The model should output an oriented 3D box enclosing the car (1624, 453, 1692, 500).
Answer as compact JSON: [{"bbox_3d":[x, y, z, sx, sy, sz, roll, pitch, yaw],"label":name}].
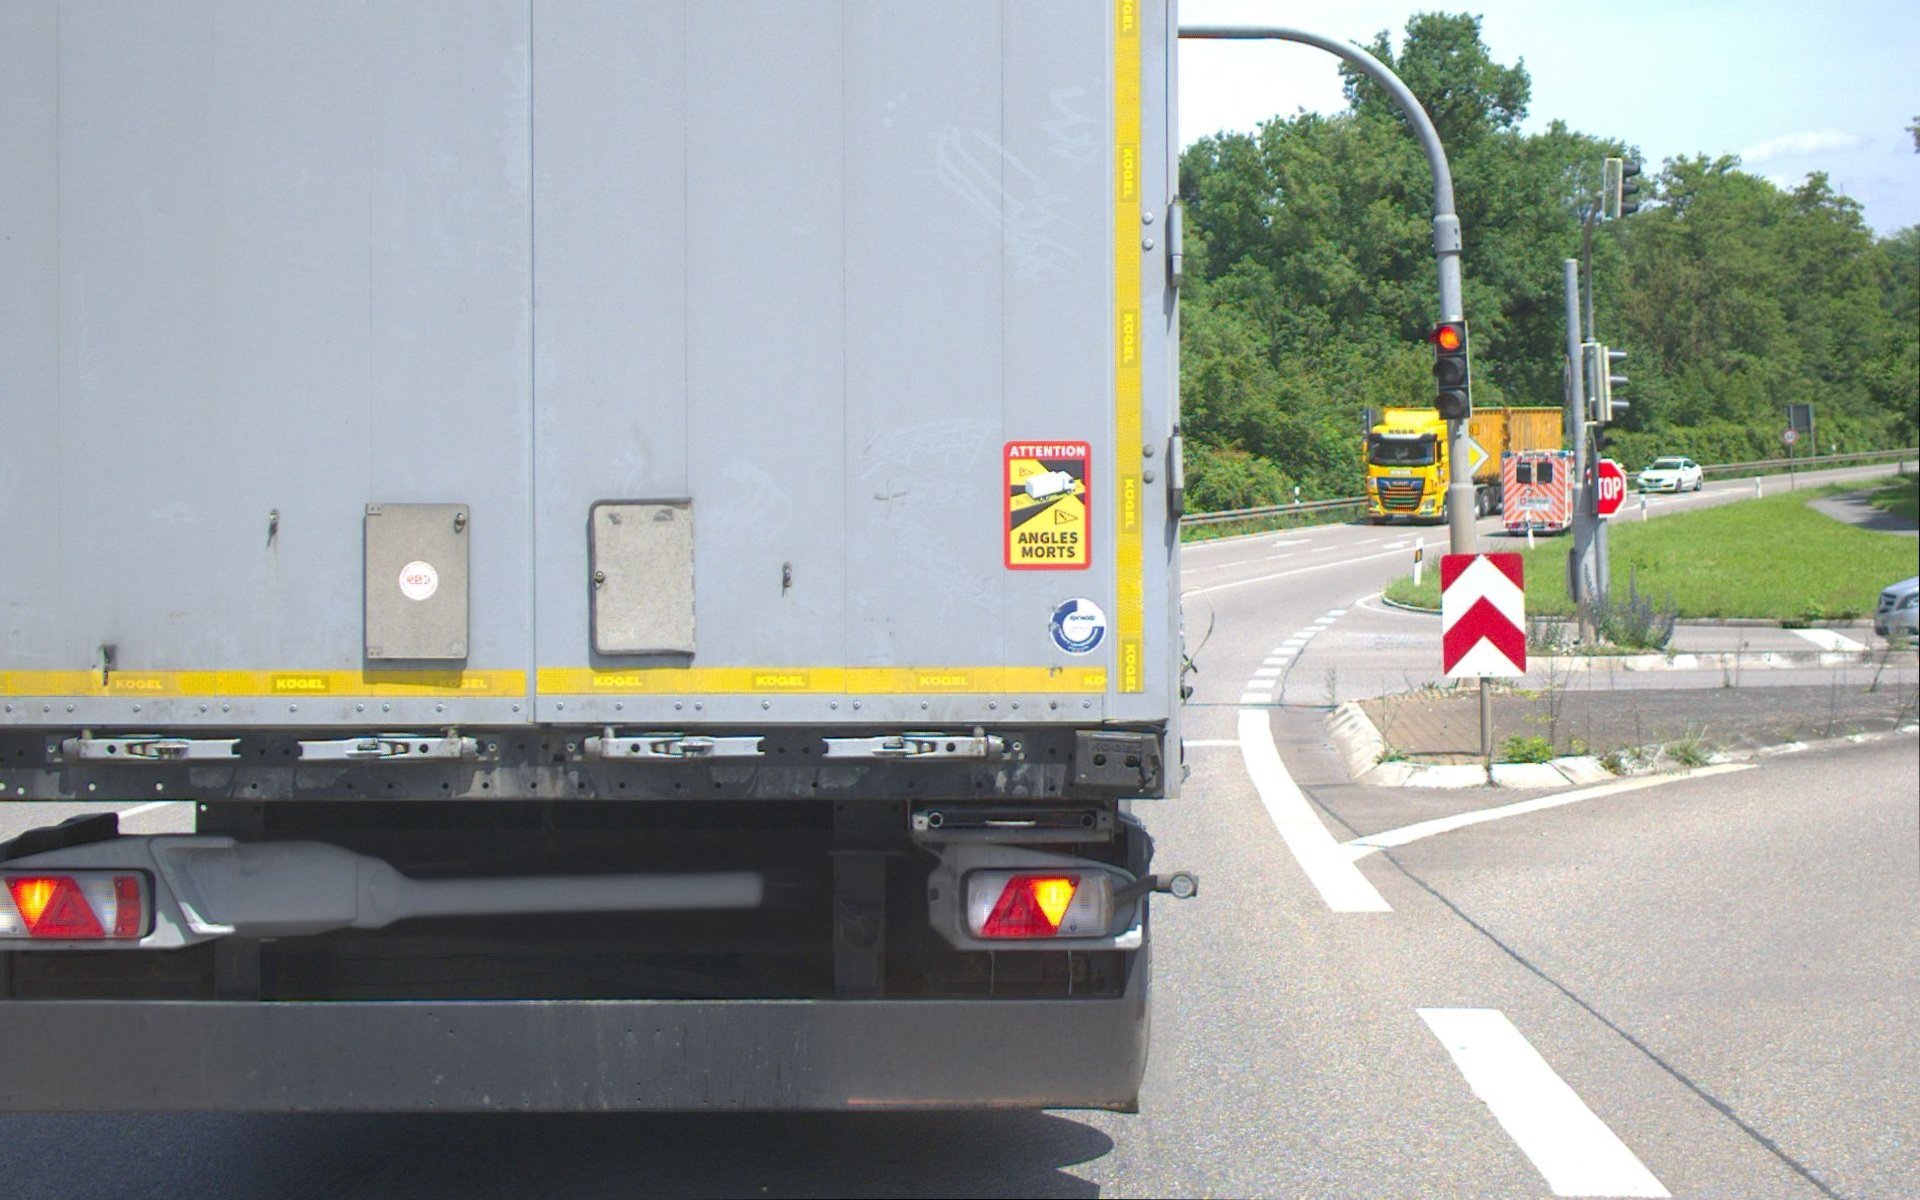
[{"bbox_3d":[30.832,-5.470,151.785,1.996,2.006,3.995,0,2,25],"label":"car"}]

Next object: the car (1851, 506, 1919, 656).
[{"bbox_3d":[12.838,-0.188,40.130,4.428,1.712,2.000,0,-1,5],"label":"car"}]

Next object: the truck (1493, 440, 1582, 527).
[{"bbox_3d":[18.586,-3.728,110.443,2.495,2.718,6.028,0,2,13],"label":"truck"}]

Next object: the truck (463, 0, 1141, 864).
[{"bbox_3d":[-0.641,-0.877,18.886,3.038,4.020,6.629,0,1,1],"label":"truck"}]

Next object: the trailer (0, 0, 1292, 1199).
[{"bbox_3d":[-0.784,-0.779,12.630,3.052,4.020,12.559,0,1,1],"label":"trailer"}]

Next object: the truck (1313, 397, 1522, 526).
[{"bbox_3d":[16.563,-4.933,123.380,5.016,4.347,11.754,0,2,20],"label":"truck"}]

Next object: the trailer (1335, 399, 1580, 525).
[{"bbox_3d":[19.242,-5.210,130.784,5.016,4.347,20.818,0,2,20],"label":"trailer"}]
